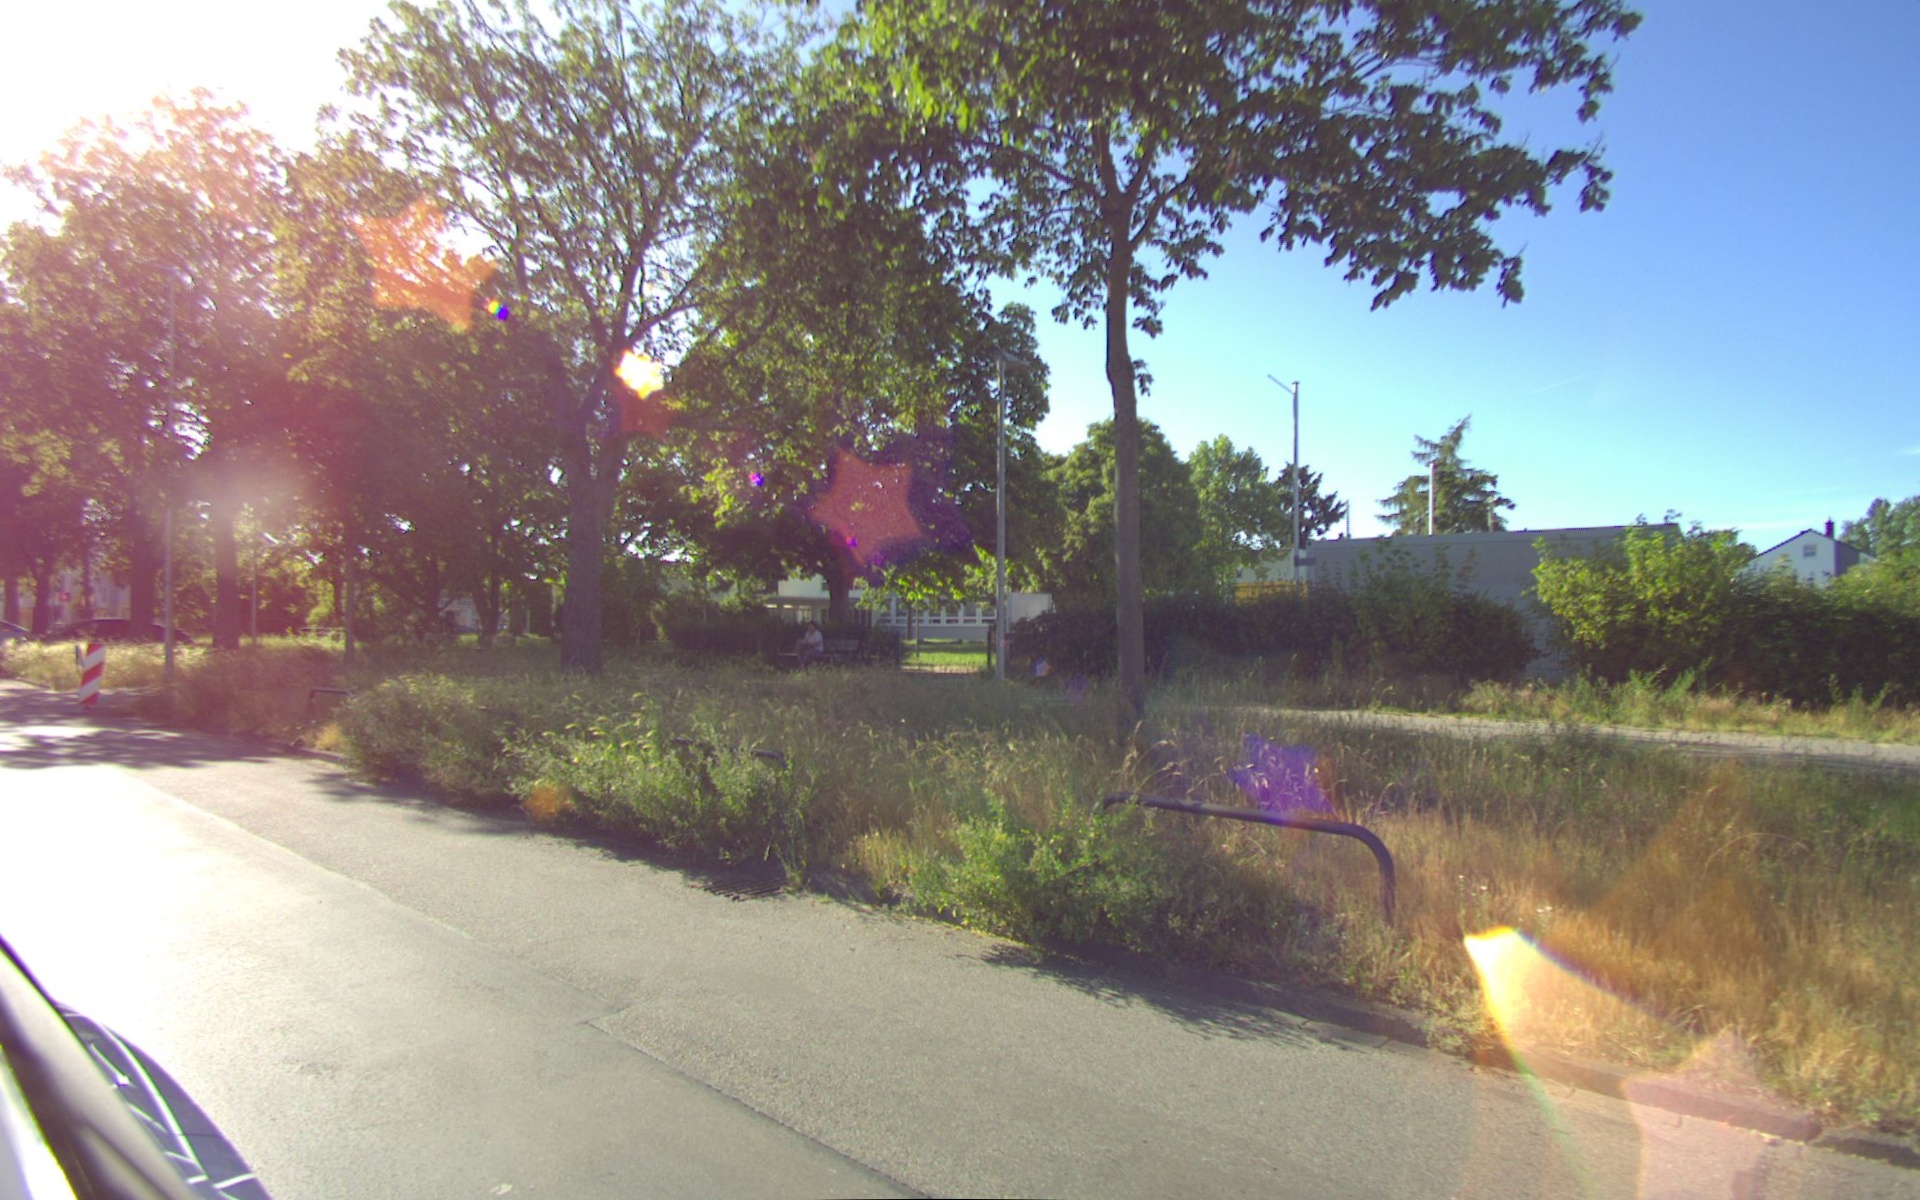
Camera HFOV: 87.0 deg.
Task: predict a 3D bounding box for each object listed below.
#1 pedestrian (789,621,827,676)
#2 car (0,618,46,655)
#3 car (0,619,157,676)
[{"bbox_3d":[-3.418,1.079,22.717,0.521,1.166,0.632,0,2,39],"label":"pedestrian"},{"bbox_3d":[-42.327,1.586,43.597,1.999,1.573,4.151,-1,-1,40],"label":"car"},{"bbox_3d":[-27.217,1.394,30.395,1.999,1.573,4.557,-1,-1,40],"label":"car"}]
